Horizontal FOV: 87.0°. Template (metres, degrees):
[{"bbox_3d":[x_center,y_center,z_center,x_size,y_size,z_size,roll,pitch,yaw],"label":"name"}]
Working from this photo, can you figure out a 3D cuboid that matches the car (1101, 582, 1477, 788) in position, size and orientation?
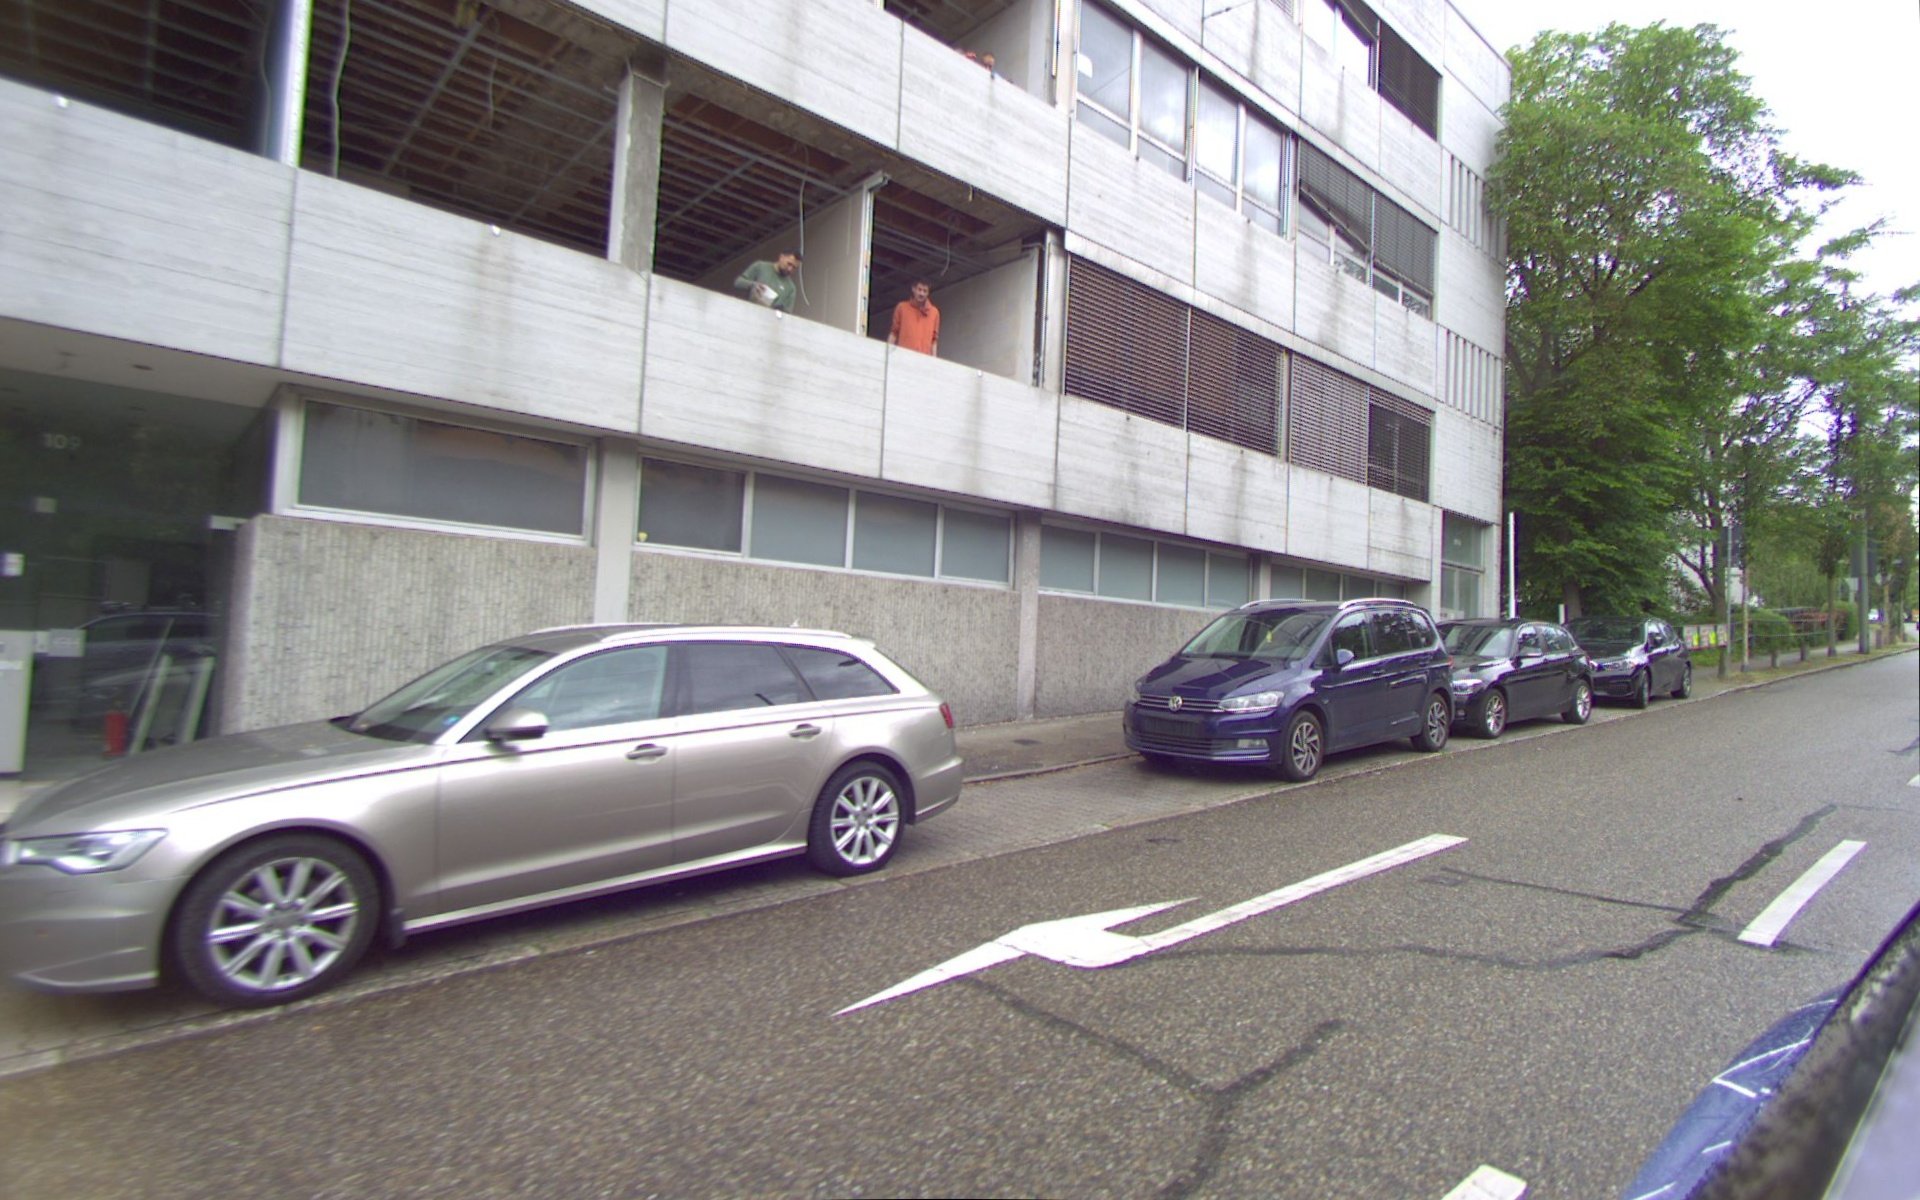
[{"bbox_3d":[3.515,0.702,10.396,4.269,1.696,1.747,0,0,-41],"label":"car"}]

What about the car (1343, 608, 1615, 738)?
[{"bbox_3d":[7.025,0.855,13.559,4.022,1.462,1.711,0,0,-38],"label":"car"}]

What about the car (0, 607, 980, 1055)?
[{"bbox_3d":[-2.186,0.787,5.592,4.661,1.478,1.816,0,0,-43],"label":"car"}]

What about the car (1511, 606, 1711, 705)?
[{"bbox_3d":[11.122,0.836,17.195,4.084,1.462,1.841,0,0,-42],"label":"car"}]
